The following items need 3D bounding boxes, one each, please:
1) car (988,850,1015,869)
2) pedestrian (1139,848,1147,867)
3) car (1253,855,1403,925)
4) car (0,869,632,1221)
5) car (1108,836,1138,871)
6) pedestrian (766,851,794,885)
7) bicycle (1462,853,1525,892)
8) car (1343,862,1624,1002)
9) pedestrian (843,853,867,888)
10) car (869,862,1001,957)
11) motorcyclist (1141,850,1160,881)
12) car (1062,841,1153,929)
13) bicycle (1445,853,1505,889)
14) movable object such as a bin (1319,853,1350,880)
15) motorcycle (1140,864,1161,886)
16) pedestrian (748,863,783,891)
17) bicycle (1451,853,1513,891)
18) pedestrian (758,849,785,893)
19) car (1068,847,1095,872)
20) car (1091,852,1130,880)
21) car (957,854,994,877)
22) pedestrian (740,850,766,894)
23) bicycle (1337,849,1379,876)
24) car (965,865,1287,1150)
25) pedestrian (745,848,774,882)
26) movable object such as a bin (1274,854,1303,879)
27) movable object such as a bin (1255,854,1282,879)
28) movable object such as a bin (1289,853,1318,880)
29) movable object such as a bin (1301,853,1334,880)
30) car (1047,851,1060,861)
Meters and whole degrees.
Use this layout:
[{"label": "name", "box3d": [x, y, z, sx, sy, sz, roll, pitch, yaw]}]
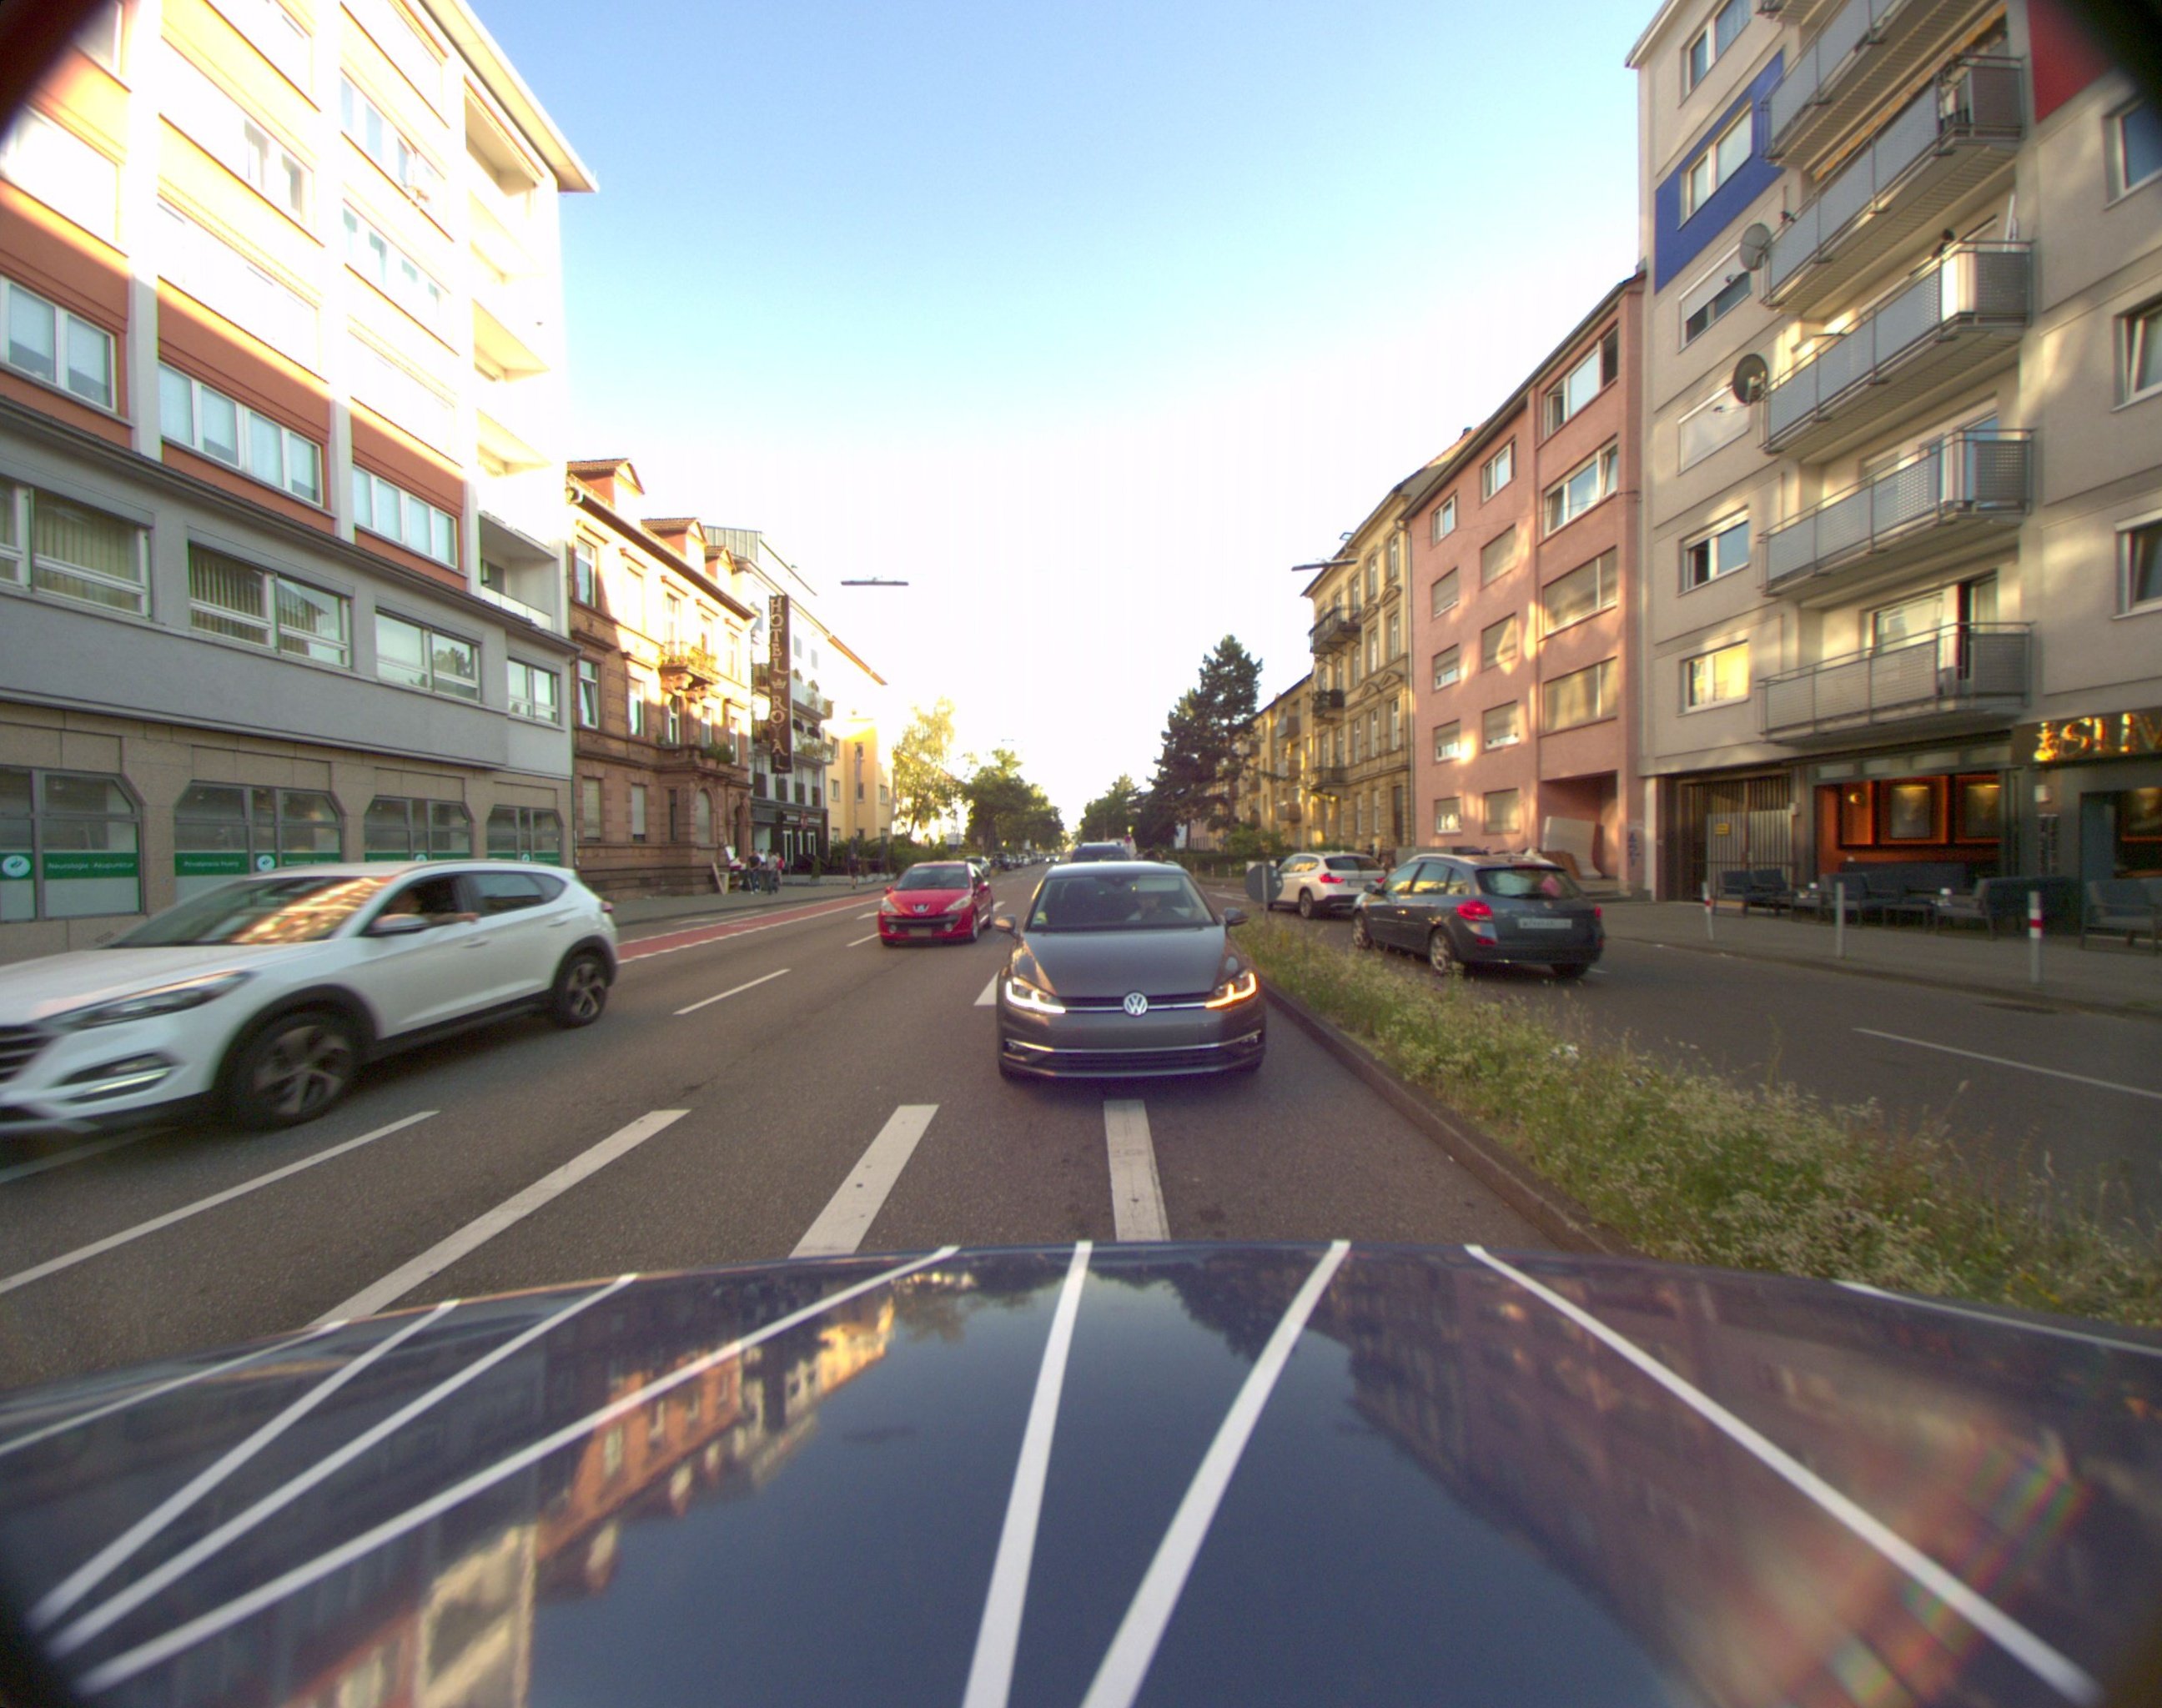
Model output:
[{"label": "car", "box3d": [-7.166, 0.455, 68.956, 1.947, 1.615, 4.193, -1, 0, 0]}, {"label": "pedestrian", "box3d": [5.050, 0.287, 61.722, 0.577, 1.591, 0.481, -1, 1, 1]}, {"label": "car", "box3d": [5.747, 0.770, 18.265, 1.758, 1.479, 4.245, 0, 0, -8]}, {"label": "car", "box3d": [-5.786, 1.024, 5.922, 1.921, 1.598, 4.269, -2, 1, 1]}, {"label": "car", "box3d": [3.346, -0.082, 61.340, 2.136, 2.740, 4.465, 0, 1, 0]}, {"label": "pedestrian", "box3d": [-14.698, 0.662, 37.109, 1.008, 1.579, 0.740, 4, 1, 30]}, {"label": "bicycle", "box3d": [13.134, 0.583, 24.200, 1.780, 1.184, 0.473, -1, 1, -2]}, {"label": "car", "box3d": [5.001, 0.858, 10.137, 1.596, 1.462, 3.985, 0, 0, -1]}, {"label": "pedestrian", "box3d": [-10.585, 0.759, 35.618, 0.738, 1.593, 1.011, 2, 1, 4]}, {"label": "car", "box3d": [-2.670, 0.955, 14.789, 1.674, 1.454, 3.999, -2, 1, 1]}, {"label": "motorcyclist", "box3d": [3.208, 0.523, 35.145, 0.750, 1.433, 0.958, 0, 1, -1]}, {"label": "car", "box3d": [0.547, 0.635, 18.092, 1.895, 1.843, 4.466, 0, 1, 0]}, {"label": "bicycle", "box3d": [13.237, 0.571, 25.512, 1.780, 1.184, 0.473, -1, 1, -2]}, {"label": "movable object such as a bin", "box3d": [11.811, 0.581, 35.387, 1.196, 1.225, 0.847, -2, 1, -40]}, {"label": "motorcycle", "box3d": [3.208, 0.956, 35.161, 0.750, 0.957, 2.048, 0, 0, -1]}, {"label": "pedestrian", "box3d": [-13.673, 0.992, 32.974, 1.100, 1.129, 0.924, -1, 1, -2]}, {"label": "bicycle", "box3d": [13.156, 0.581, 24.933, 1.780, 1.184, 0.473, -1, 1, -2]}, {"label": "pedestrian", "box3d": [-12.503, 0.672, 30.699, 0.668, 1.716, 1.011, -1, 1, -2]}, {"label": "car", "box3d": [-0.011, 0.366, 57.953, 1.895, 1.843, 4.699, 0, 1, -2]}, {"label": "car", "box3d": [1.653, 0.647, 43.397, 1.597, 1.533, 3.401, 0, 1, -8]}, {"label": "car", "box3d": [-7.361, 0.753, 53.228, 1.905, 1.508, 4.074, -1, 0, 1]}, {"label": "pedestrian", "box3d": [-13.296, 0.714, 30.816, 0.668, 1.716, 1.010, -1, 1, -5]}, {"label": "bicycle", "box3d": [12.728, 0.374, 34.901, 1.780, 1.184, 0.473, -1, 1, -2]}, {"label": "car", "box3d": [0.286, 0.907, 6.448, 1.770, 1.450, 4.269, -2, 1, 1]}, {"label": "pedestrian", "box3d": [-15.502, 0.512, 36.641, 1.008, 1.579, 0.789, 4, 1, 29]}, {"label": "movable object such as a bin", "box3d": [10.319, 0.611, 37.732, 1.196, 1.225, 0.847, -2, 1, -40]}, {"label": "movable object such as a bin", "box3d": [9.455, 0.639, 38.228, 0.847, 1.225, 1.196, 0, 1, 42]}, {"label": "movable object such as a bin", "box3d": [10.847, 0.599, 37.027, 1.196, 1.225, 0.847, -2, 1, -40]}, {"label": "movable object such as a bin", "box3d": [11.238, 0.593, 36.133, 1.295, 1.225, 0.926, -2, 1, -40]}, {"label": "car", "box3d": [-4.243, 0.287, 118.333, 1.907, 1.532, 3.999, -1, 1, 0]}]
